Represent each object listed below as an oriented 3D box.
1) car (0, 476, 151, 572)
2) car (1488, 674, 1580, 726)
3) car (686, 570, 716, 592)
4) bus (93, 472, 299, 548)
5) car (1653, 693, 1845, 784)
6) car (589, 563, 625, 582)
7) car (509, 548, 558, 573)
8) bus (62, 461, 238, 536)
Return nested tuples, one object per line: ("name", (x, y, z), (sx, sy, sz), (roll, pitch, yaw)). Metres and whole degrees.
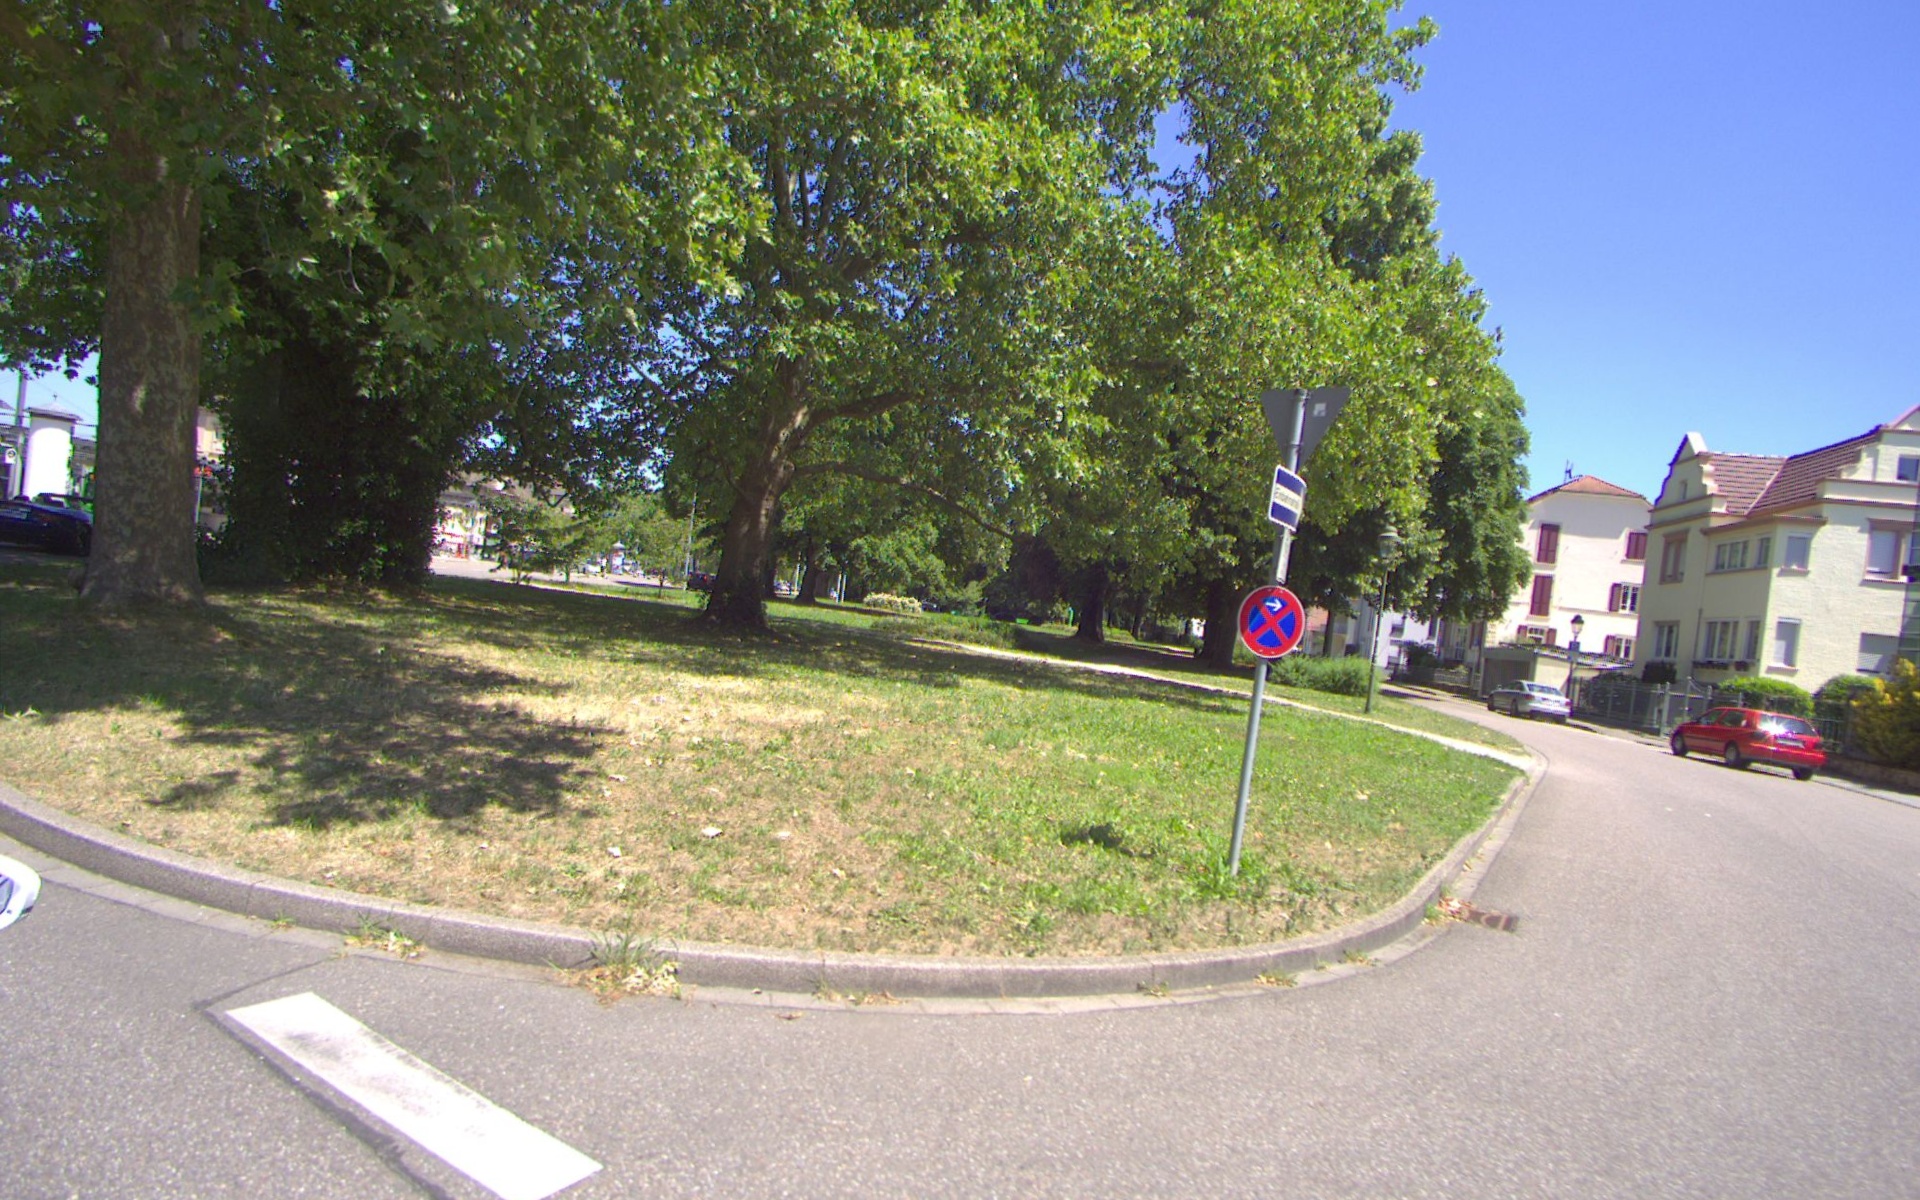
("car", (-20.950, -1.740, 23.247), (2.102, 1.870, 4.031), (8, -1, -19))
("car", (22.279, 3.831, 39.228), (1.720, 1.526, 4.002), (7, 0, 10))
("car", (-19.957, -1.441, 77.643), (1.694, 1.496, 3.701), (6, 0, -8))
("bus", (-46.761, -5.309, 62.512), (2.635, 3.078, 13.886), (7, -1, -3))
("car", (18.932, 3.259, 24.394), (1.720, 1.543, 4.002), (7, 0, 8))
("car", (-31.734, -2.451, 90.591), (1.787, 1.463, 4.156), (4, 0, -1))
("car", (-31.755, -2.902, 75.100), (1.693, 1.496, 4.784), (6, 0, -3))
("bus", (-55.025, -6.732, 68.984), (2.130, 3.569, 12.219), (7, 0, -1))
